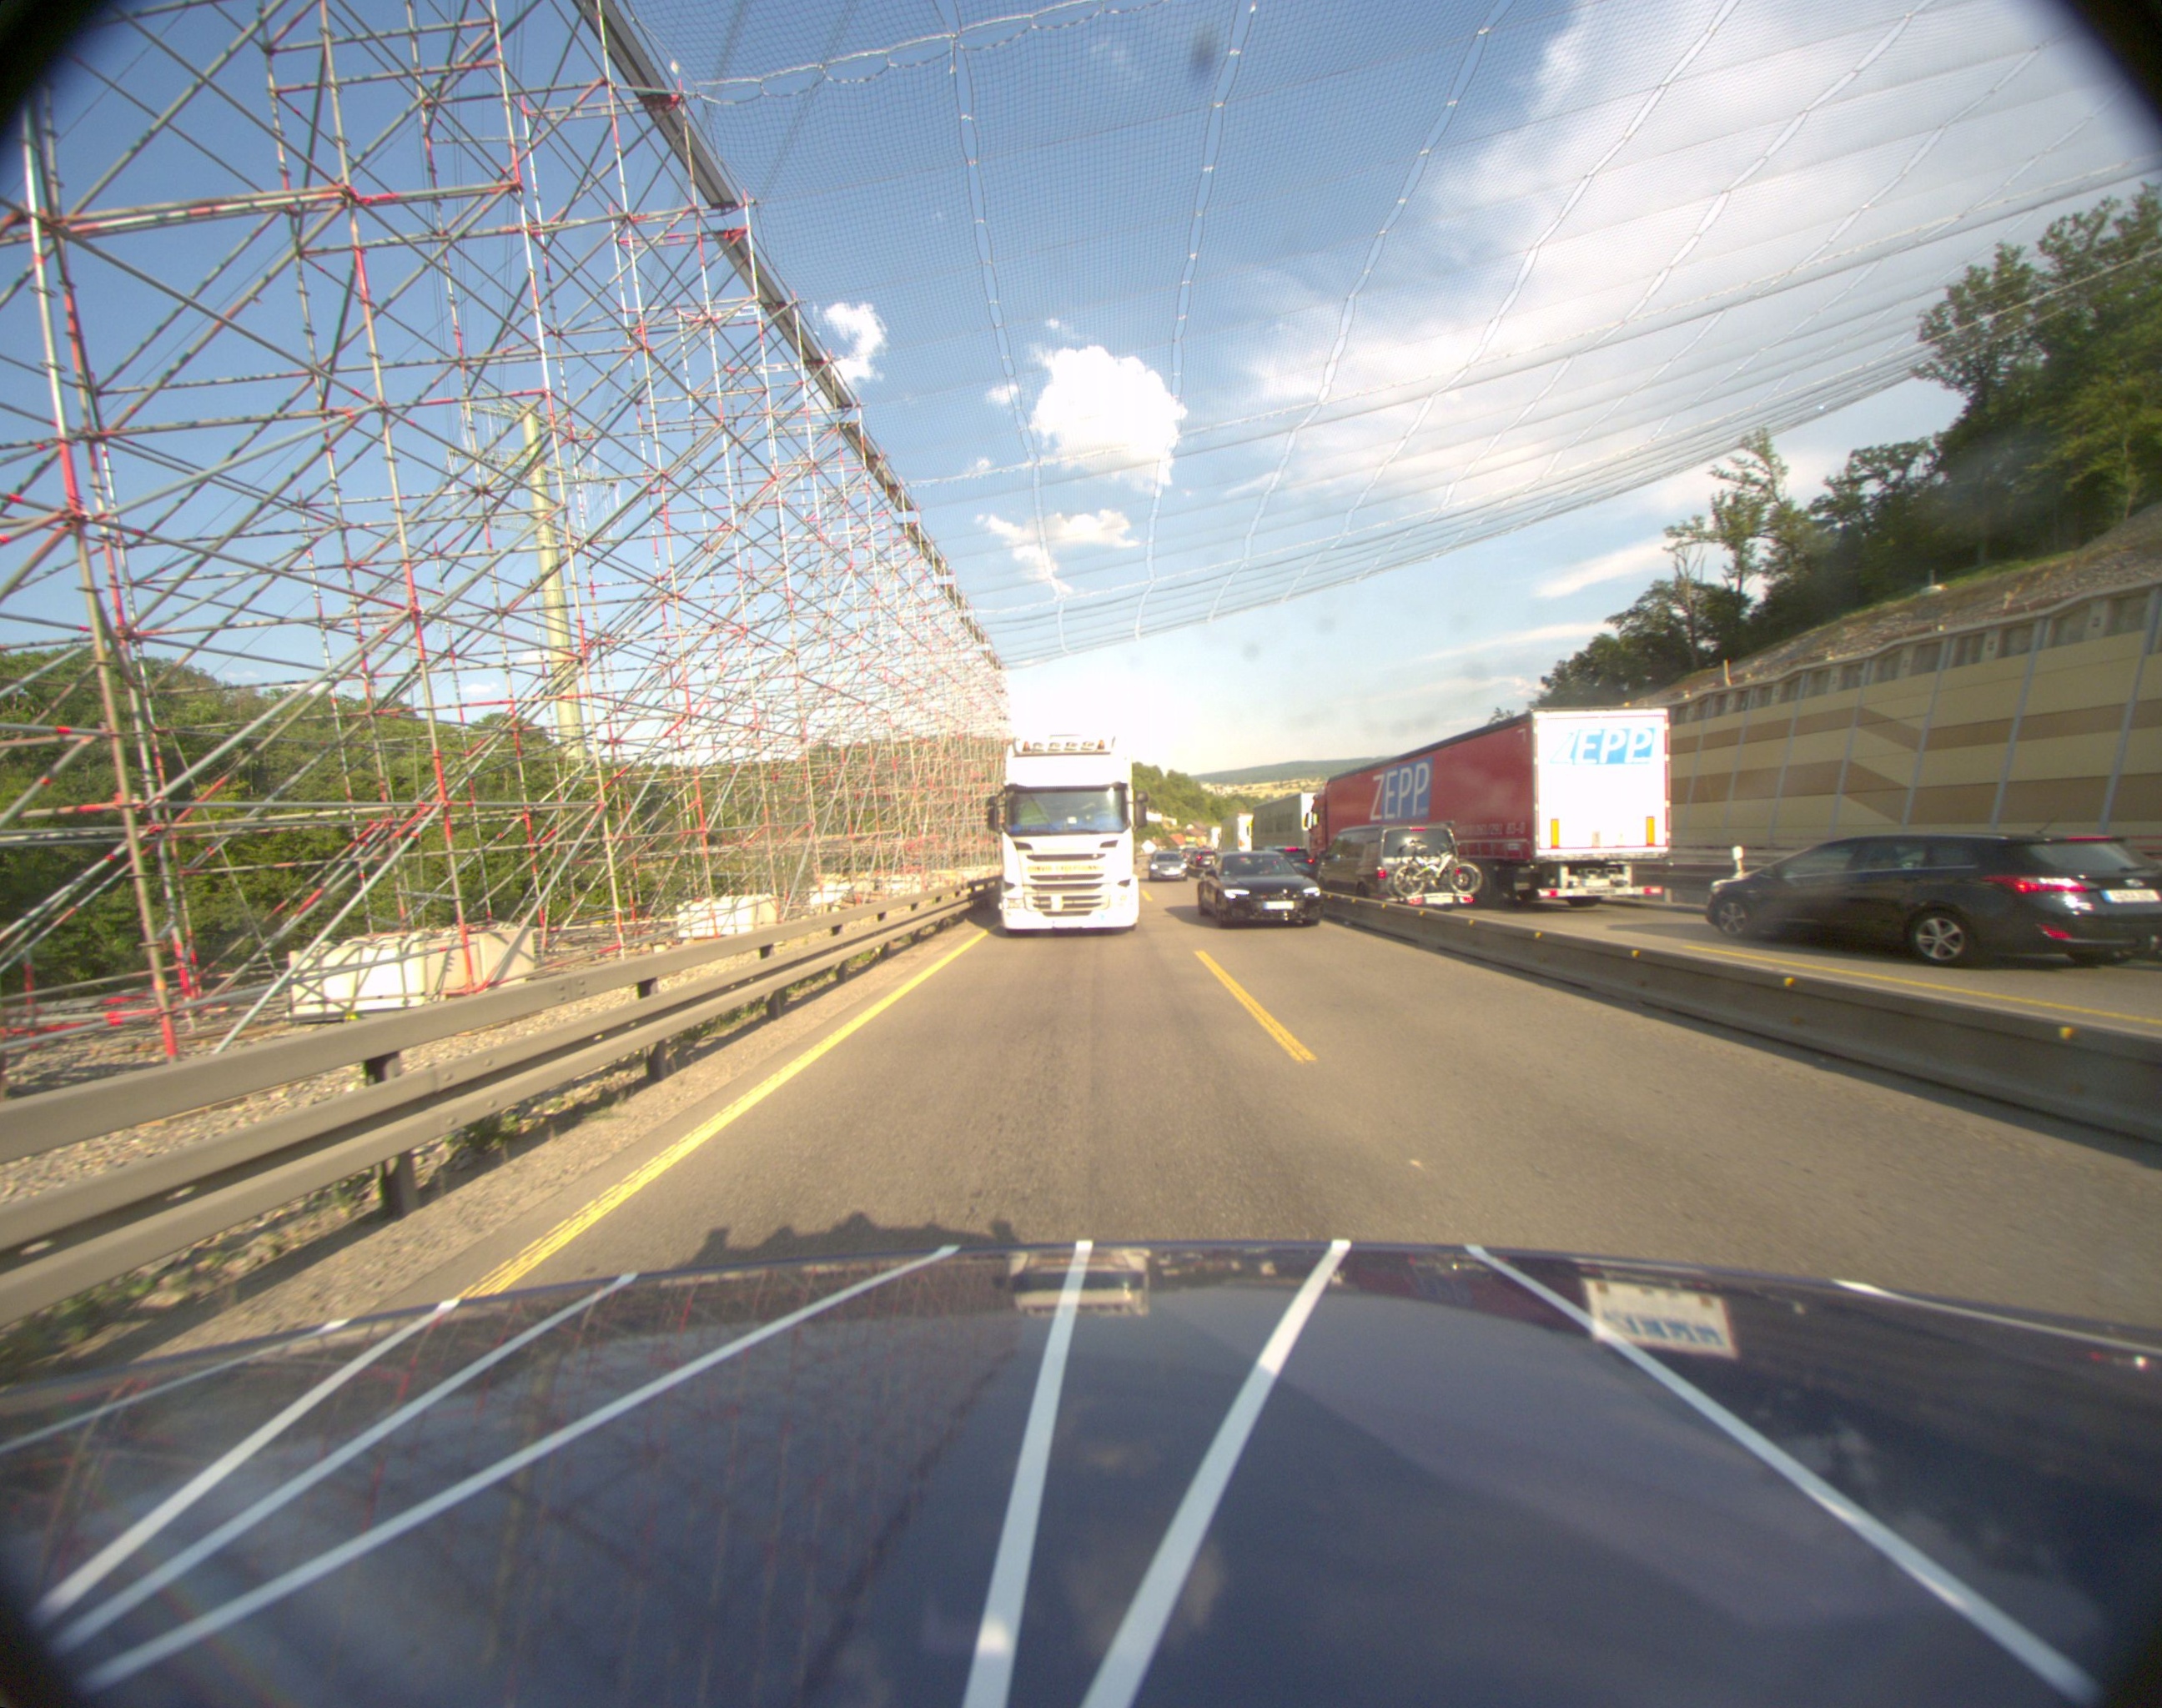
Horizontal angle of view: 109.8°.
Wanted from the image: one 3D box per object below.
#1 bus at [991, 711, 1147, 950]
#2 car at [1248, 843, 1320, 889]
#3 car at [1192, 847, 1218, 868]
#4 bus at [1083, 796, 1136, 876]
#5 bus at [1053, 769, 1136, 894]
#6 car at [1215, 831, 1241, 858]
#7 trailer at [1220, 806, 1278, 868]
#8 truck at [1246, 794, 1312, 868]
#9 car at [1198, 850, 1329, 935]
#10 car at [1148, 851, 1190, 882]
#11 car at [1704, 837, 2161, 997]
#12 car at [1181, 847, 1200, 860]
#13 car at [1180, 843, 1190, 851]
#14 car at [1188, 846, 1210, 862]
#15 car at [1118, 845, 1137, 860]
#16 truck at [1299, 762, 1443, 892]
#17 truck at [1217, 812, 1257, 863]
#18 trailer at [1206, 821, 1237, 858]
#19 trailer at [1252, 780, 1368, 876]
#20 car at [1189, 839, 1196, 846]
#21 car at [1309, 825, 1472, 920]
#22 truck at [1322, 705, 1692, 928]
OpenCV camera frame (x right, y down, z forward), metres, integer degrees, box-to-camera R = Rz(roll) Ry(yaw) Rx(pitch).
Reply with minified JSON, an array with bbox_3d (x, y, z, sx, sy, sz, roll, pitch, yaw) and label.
[{"bbox_3d":[-0.323,-0.531,18.744,2.636,4.077,11.309,-1,1,-1],"label":"bus"},{"bbox_3d":[7.537,0.396,28.581,1.746,1.526,4.268,-2,1,4],"label":"car"},{"bbox_3d":[9.487,0.209,58.323,1.654,1.455,4.401,-3,0,6],"label":"car"},{"bbox_3d":[2.070,-1.092,49.717,2.984,4.553,10.905,-1,1,4],"label":"bus"},{"bbox_3d":[0.721,-0.868,33.045,2.984,4.553,9.968,-1,1,3],"label":"bus"},{"bbox_3d":[15.410,-1.011,80.055,2.026,2.674,6.951,-3,0,6],"label":"car"},{"bbox_3d":[13.240,-1.322,61.008,2.772,4.309,13.884,-1,1,5],"label":"trailer"},{"bbox_3d":[12.002,-1.362,46.494,2.793,4.118,5.934,-1,1,4],"label":"truck"},{"bbox_3d":[3.512,0.674,15.338,1.866,1.391,4.000,-1,1,3],"label":"car"},{"bbox_3d":[4.261,0.571,37.413,1.698,1.390,4.001,-3,0,2],"label":"car"},{"bbox_3d":[10.100,0.574,9.204,1.726,1.439,4.138,-2,1,1],"label":"car"},{"bbox_3d":[12.453,-0.053,86.642,1.735,1.369,4.892,-3,1,5],"label":"car"},{"bbox_3d":[20.598,-1.398,150.745,1.820,1.570,4.759,1,0,10],"label":"car"},{"bbox_3d":[11.424,-0.025,73.823,1.736,1.430,4.839,-2,0,6],"label":"car"},{"bbox_3d":[5.111,-0.182,83.599,1.998,1.630,4.000,-1,1,4],"label":"car"},{"bbox_3d":[10.328,-0.909,27.865,2.794,4.118,6.678,-1,1,1],"label":"truck"},{"bbox_3d":[13.823,-1.430,67.514,2.751,4.275,5.935,-1,1,5],"label":"truck"},{"bbox_3d":[17.144,-1.756,93.350,2.726,4.194,13.753,-1,1,7],"label":"trailer"},{"bbox_3d":[11.517,-1.242,39.939,2.805,4.117,13.968,-1,1,4],"label":"trailer"},{"bbox_3d":[31.300,-3.170,213.816,1.820,1.988,4.759,1,0,10],"label":"car"},{"bbox_3d":[6.961,0.357,17.742,1.879,1.924,4.861,0,1,1],"label":"car"},{"bbox_3d":[10.197,-0.810,21.174,2.794,4.117,13.806,-1,1,1],"label":"truck"}]
